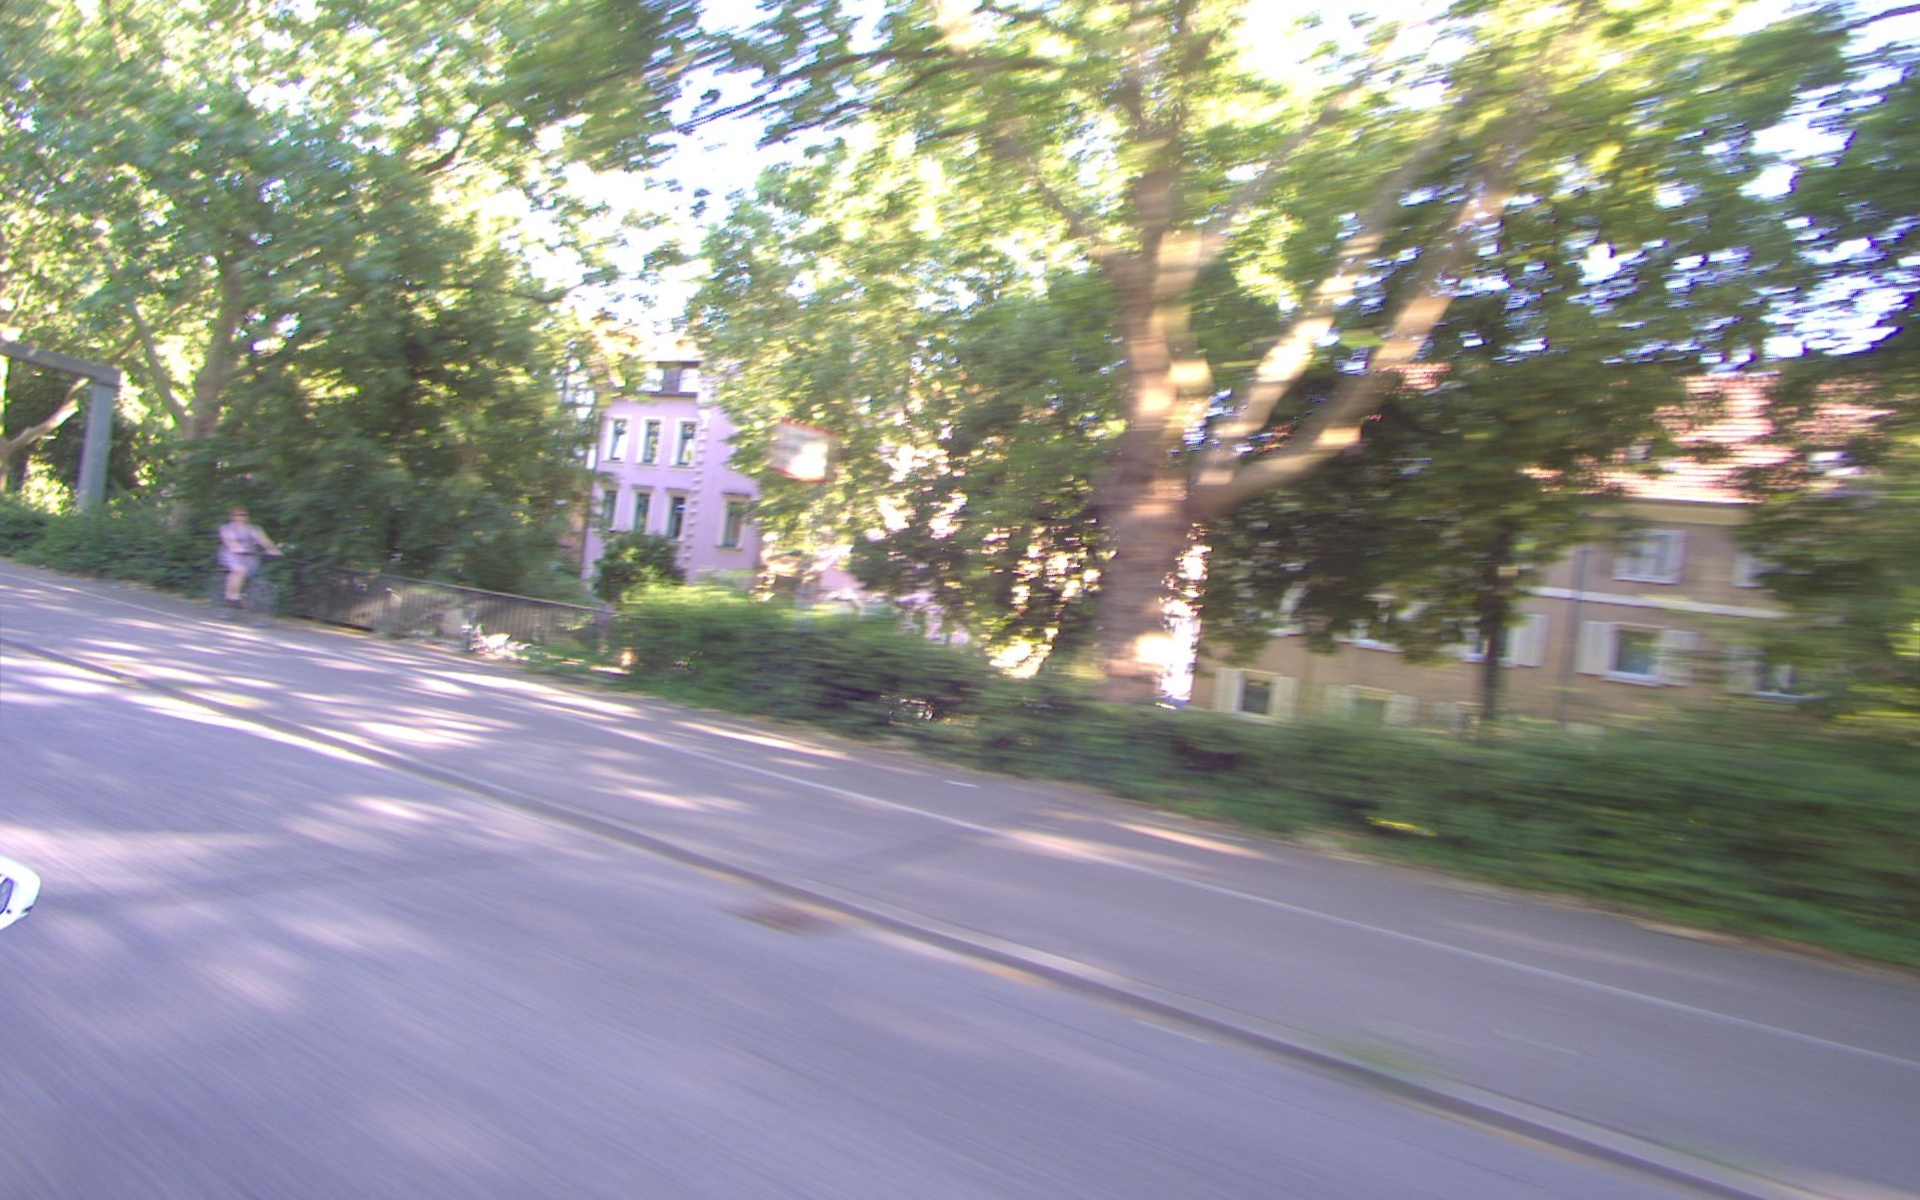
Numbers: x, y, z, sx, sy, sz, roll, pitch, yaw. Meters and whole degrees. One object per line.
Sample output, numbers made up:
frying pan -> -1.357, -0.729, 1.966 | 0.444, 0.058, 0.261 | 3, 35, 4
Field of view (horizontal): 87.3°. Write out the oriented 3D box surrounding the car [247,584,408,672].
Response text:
car -> -17.400, 0.758, 27.657 | 4.030, 1.832, 1.909 | 6, -3, 30

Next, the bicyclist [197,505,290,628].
bicyclist -> -11.046, -0.516, 15.507 | 1.063, 1.748, 0.699 | 7, -1, 36

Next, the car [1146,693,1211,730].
car -> 11.849, 6.058, 54.432 | 1.771, 1.528, 4.144 | 11, 0, 35

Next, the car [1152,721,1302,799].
car -> 8.049, 4.765, 30.412 | 3.933, 1.529, 1.796 | 7, 1, 31

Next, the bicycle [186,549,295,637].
bicycle -> -11.095, -0.120, 15.500 | 1.900, 1.120, 0.699 | 6, -1, 36
